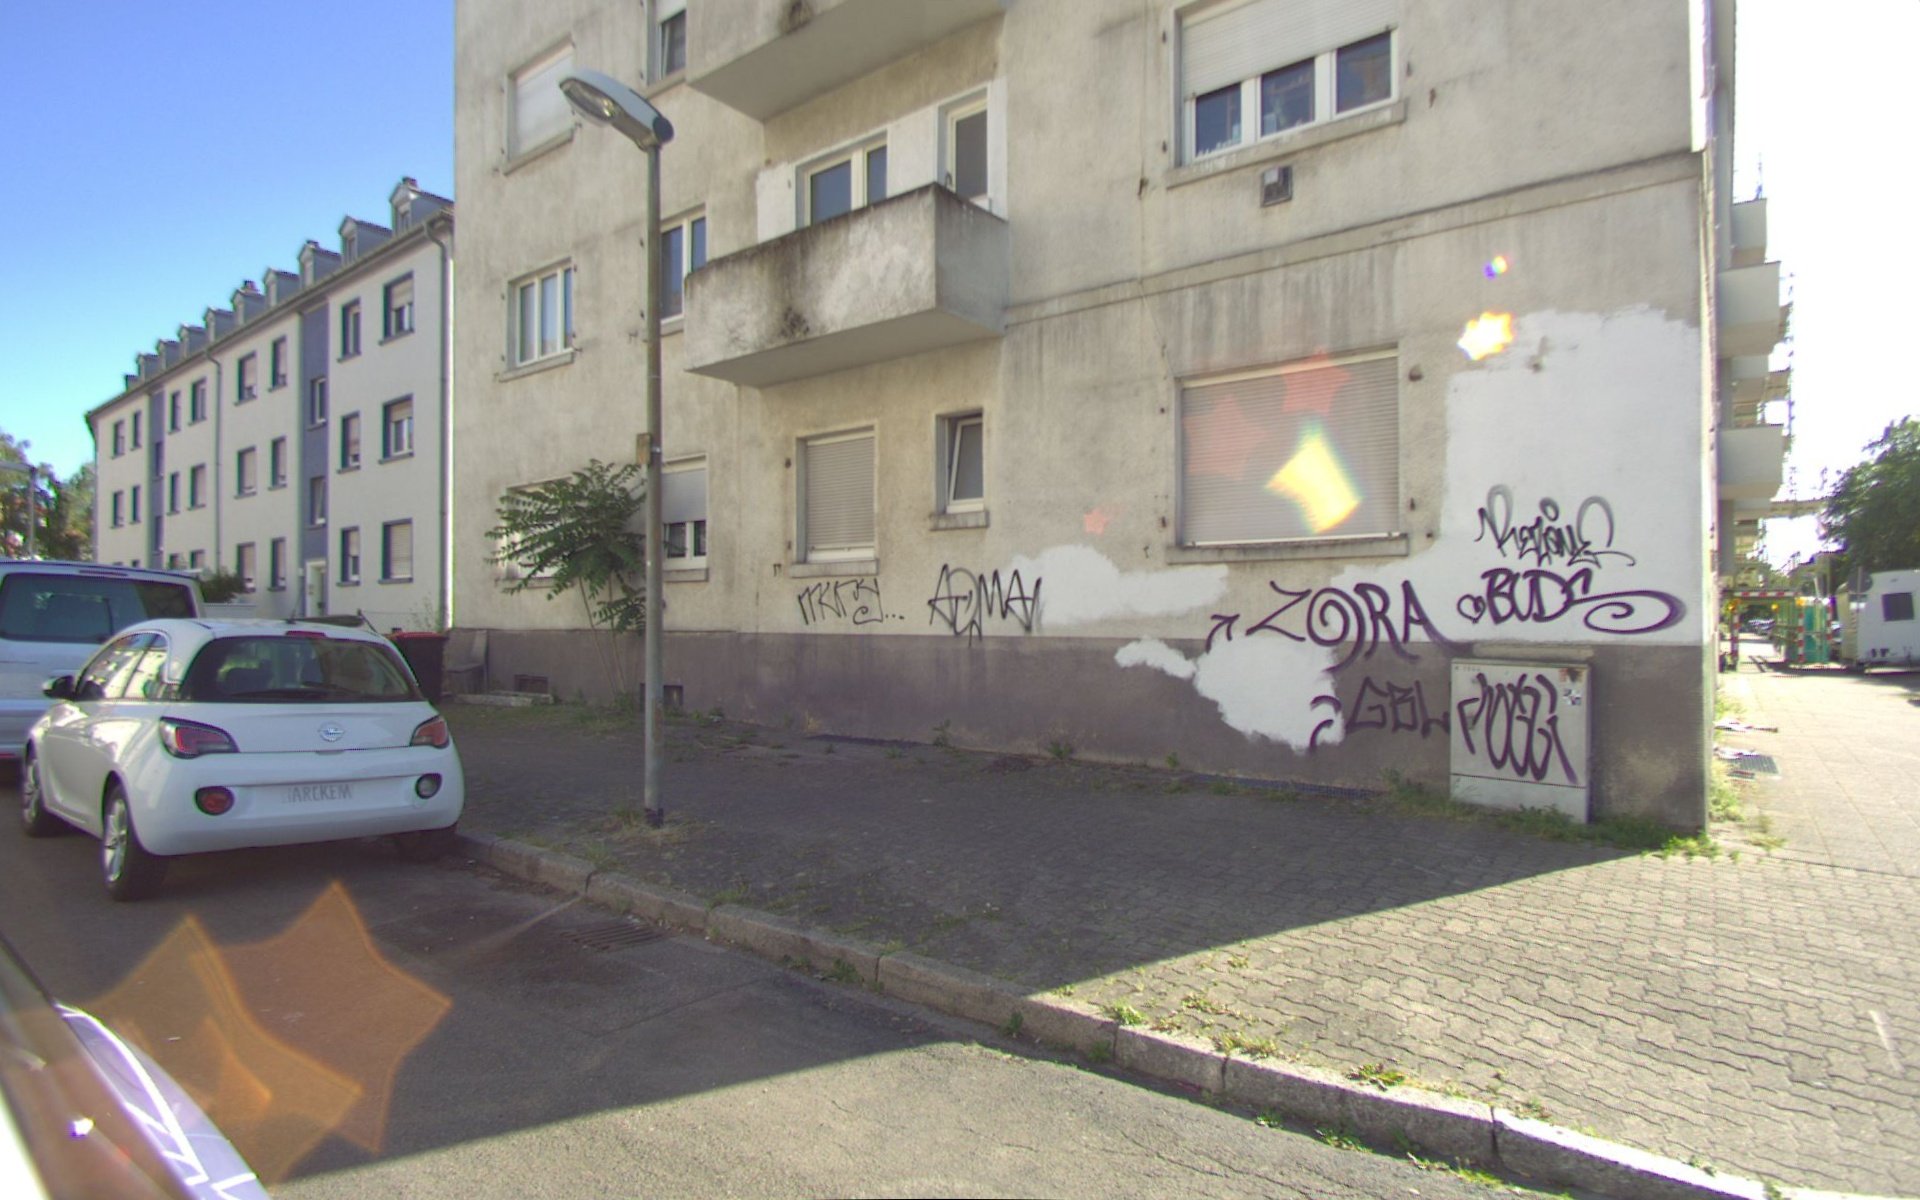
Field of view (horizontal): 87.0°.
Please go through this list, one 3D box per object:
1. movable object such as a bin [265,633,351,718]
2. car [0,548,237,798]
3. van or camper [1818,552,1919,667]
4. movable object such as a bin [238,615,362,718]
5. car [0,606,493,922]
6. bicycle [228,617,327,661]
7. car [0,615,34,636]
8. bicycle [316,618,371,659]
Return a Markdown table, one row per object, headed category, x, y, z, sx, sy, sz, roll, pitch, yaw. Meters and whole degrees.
| category | x | y | z | sx | sy | sz | roll | pitch | yaw |
| --- | --- | --- | --- | --- | --- | --- | --- | --- | --- |
| movable object such as a bin | -8.913 | 1.014 | 13.846 | 0.815 | 1.087 | 0.765 | -1 | 0 | 37 |
| car | -9.068 | 0.619 | 9.827 | 4.848 | 1.948 | 1.932 | -1 | -3 | 37 |
| van or camper | 28.419 | 0.334 | 30.926 | 2.955 | 3.204 | 6.096 | 0 | -1 | 37 |
| movable object such as a bin | -9.546 | 0.926 | 14.653 | 1.043 | 1.387 | 1.244 | -1 | 0 | 37 |
| car | -4.776 | 0.821 | 6.570 | 3.717 | 1.470 | 1.670 | -1 | -3 | 39 |
| bicycle | -17.600 | 0.994 | 26.139 | 0.500 | 0.968 | 2.048 | -1 | 2 | 38 |
| car | -67.884 | 1.779 | 71.637 | 1.550 | 1.436 | 3.988 | 3 | -3 | -12 |
| bicycle | -15.660 | 0.962 | 25.697 | 2.072 | 0.968 | 0.494 | -1 | 2 | 39 |
